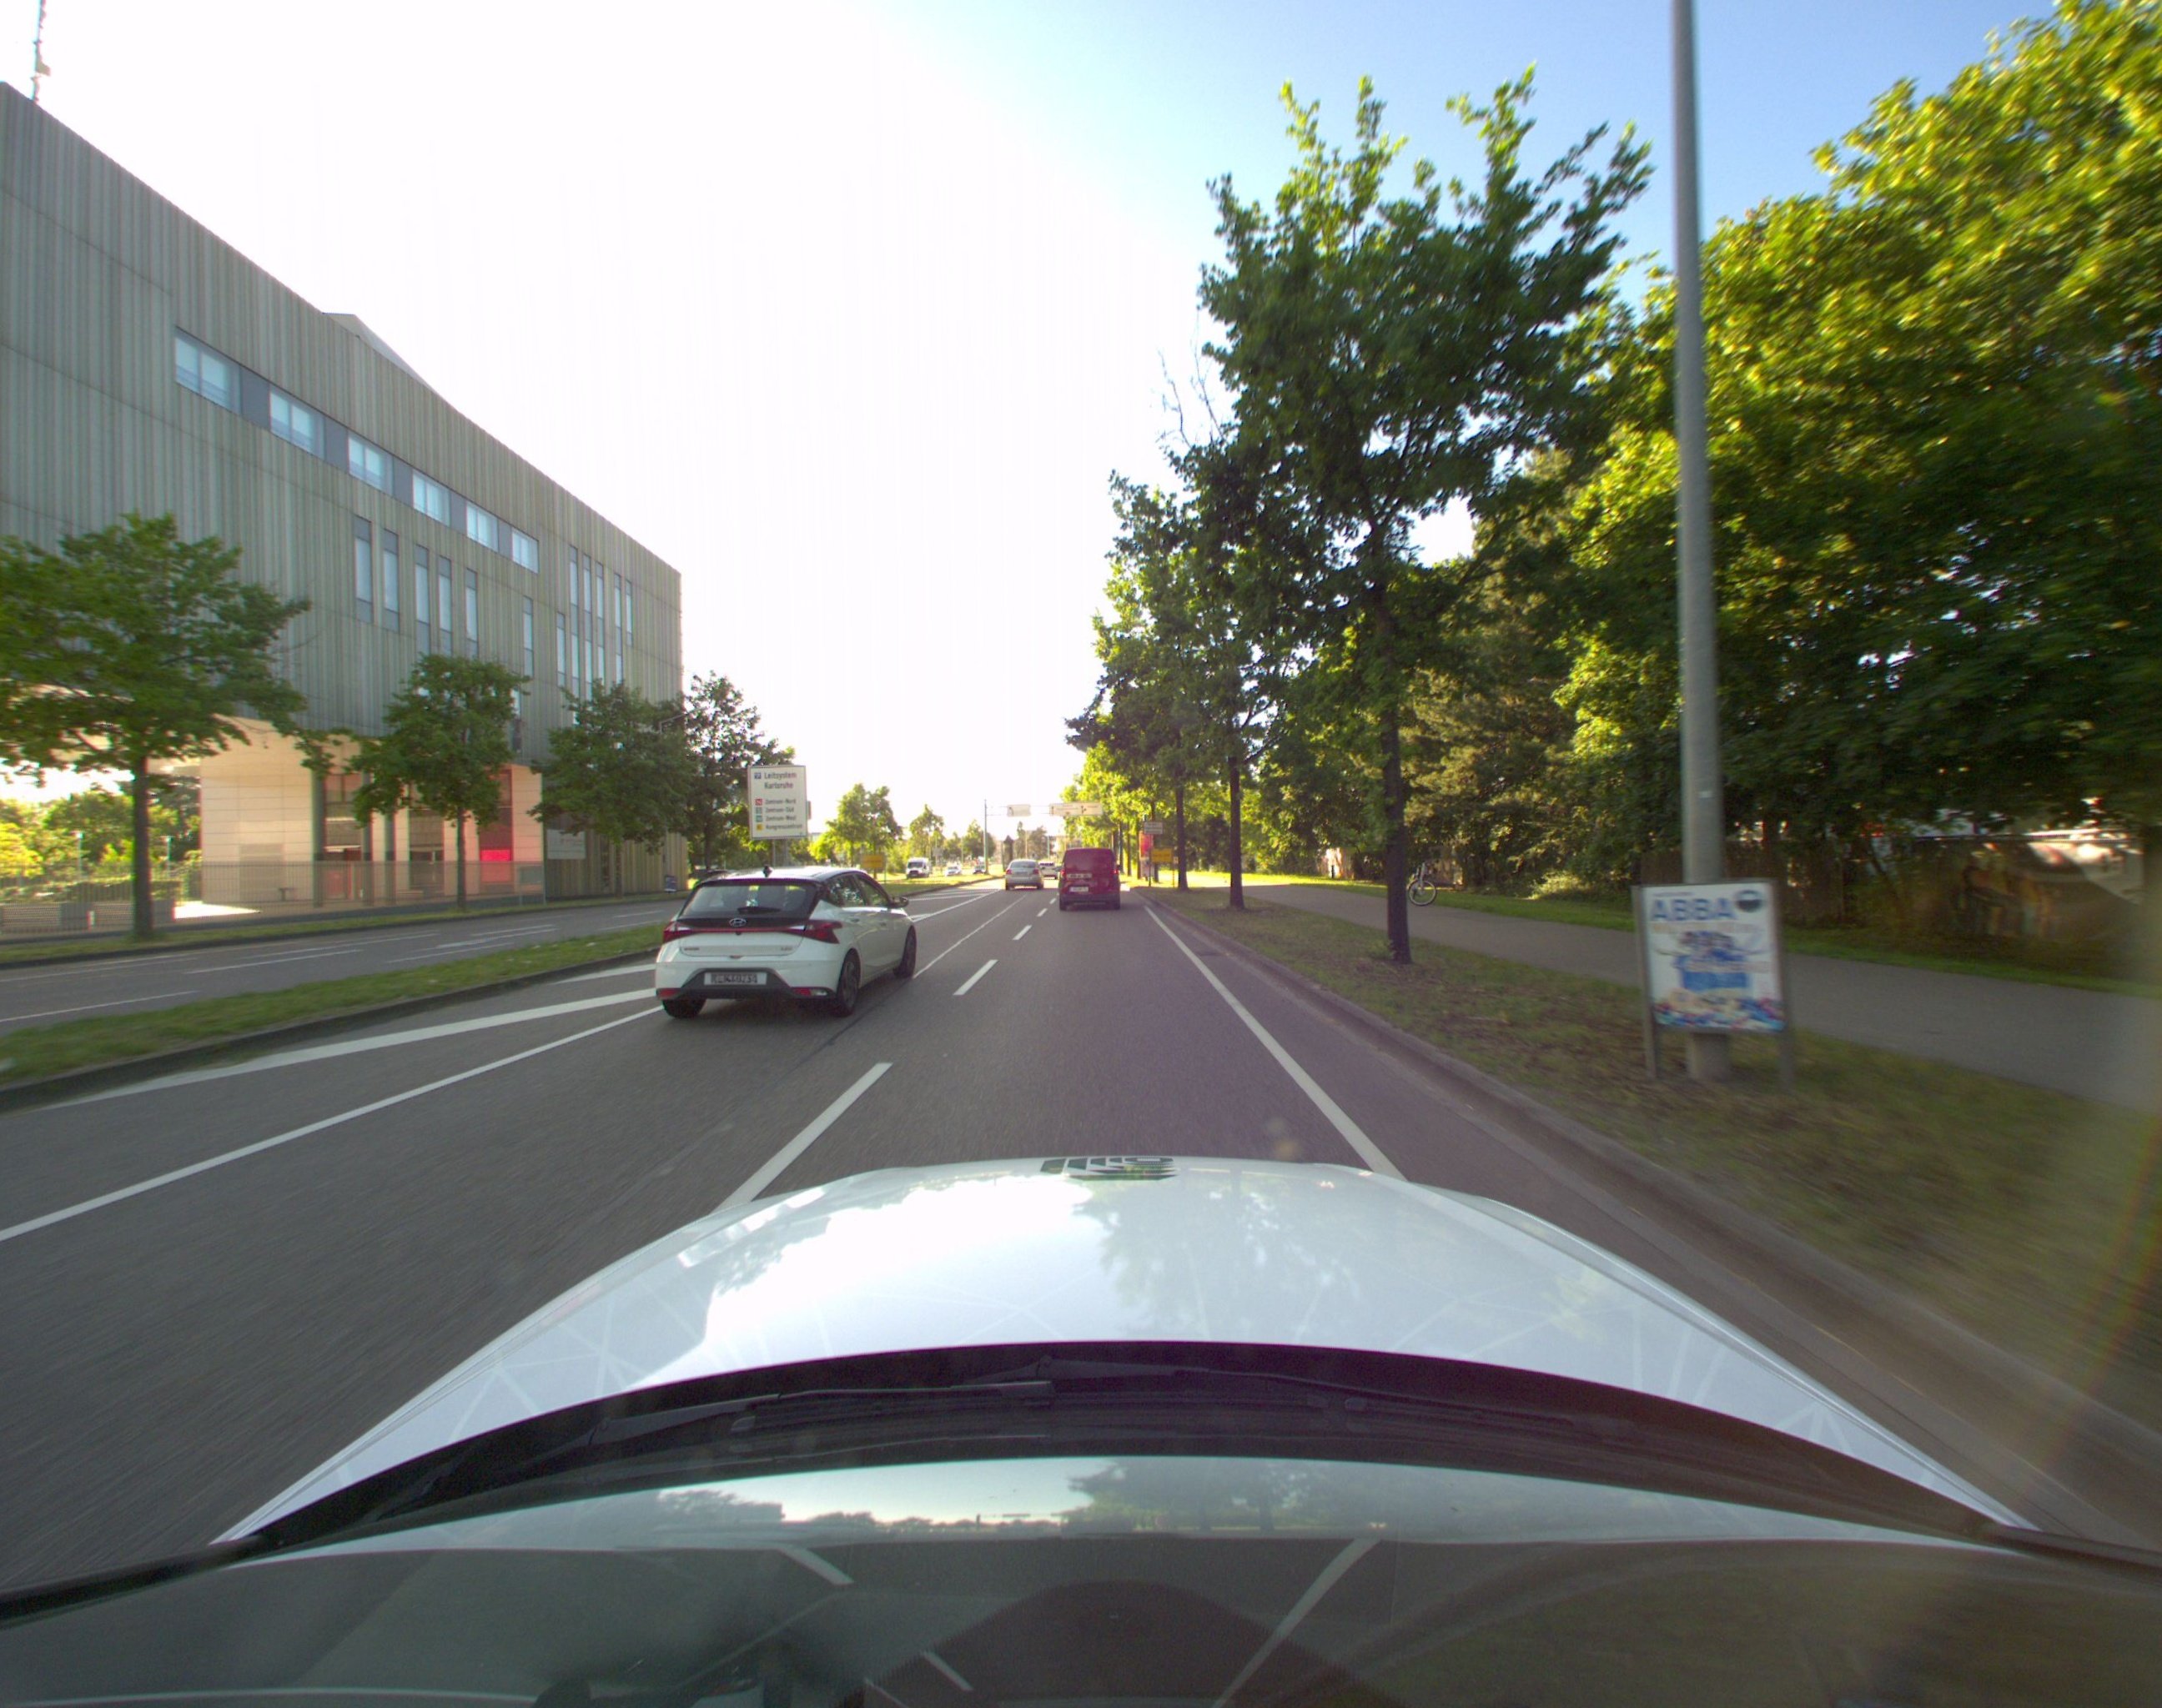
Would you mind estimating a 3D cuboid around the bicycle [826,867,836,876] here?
[{"bbox_3d":[-27.713,1.968,90.359,0.485,1.003,2.095,-2,-1,-1],"label":"bicycle"}]

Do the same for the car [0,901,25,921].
[{"bbox_3d":[-51.834,2.721,37.676,1.425,0.914,3.442,-2,0,0],"label":"car"}]

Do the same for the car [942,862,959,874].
[{"bbox_3d":[-16.775,1.821,104.630,1.684,1.476,4.046,-2,0,-2],"label":"car"}]

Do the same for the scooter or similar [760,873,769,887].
[{"bbox_3d":[-26.327,2.129,67.698,0.230,1.149,1.327,-2,-1,0],"label":"scooter or similar"}]

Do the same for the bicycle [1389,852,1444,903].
[{"bbox_3d":[7.931,0.529,19.340,0.769,1.131,1.712,-2,0,7],"label":"bicycle"}]

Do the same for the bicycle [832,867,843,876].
[{"bbox_3d":[-26.739,1.941,89.451,0.568,1.003,2.095,-2,-1,-1],"label":"bicycle"}]

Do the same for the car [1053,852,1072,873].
[{"bbox_3d":[-1.733,0.753,75.962,1.656,1.856,3.557,-2,0,-1],"label":"car"}]

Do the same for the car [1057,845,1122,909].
[{"bbox_3d":[0.217,0.644,24.593,1.801,1.759,4.004,0,0,-1],"label":"car"}]

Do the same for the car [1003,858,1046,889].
[{"bbox_3d":[-2.760,0.922,40.335,1.835,1.456,4.161,0,0,0],"label":"car"}]

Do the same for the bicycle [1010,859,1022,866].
[{"bbox_3d":[-11.348,1.521,142.375,1.953,1.166,0.517,-2,-1,-2],"label":"bicycle"}]

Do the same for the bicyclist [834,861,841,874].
[{"bbox_3d":[-26.752,1.491,89.433,0.561,1.392,0.747,-2,-1,-2],"label":"bicyclist"}]

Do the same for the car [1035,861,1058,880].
[{"bbox_3d":[-2.687,1.280,64.530,1.656,1.398,3.557,-2,0,-1],"label":"car"}]

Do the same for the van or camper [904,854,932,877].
[{"bbox_3d":[-18.260,1.279,91.495,1.988,2.368,5.990,-3,0,-1],"label":"van or camper"}]

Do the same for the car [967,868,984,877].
[{"bbox_3d":[-14.181,2.455,109.941,1.823,1.111,4.170,-2,0,-2],"label":"car"}]

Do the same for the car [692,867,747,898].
[{"bbox_3d":[-19.003,1.473,42.964,1.442,1.436,3.457,-2,0,-2],"label":"car"}]

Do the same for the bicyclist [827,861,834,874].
[{"bbox_3d":[-27.724,1.535,90.203,0.481,1.395,0.844,-2,-1,-2],"label":"bicyclist"}]

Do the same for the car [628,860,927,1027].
[{"bbox_3d":[-3.046,0.799,9.181,1.772,1.409,4.075,-1,0,1],"label":"car"}]

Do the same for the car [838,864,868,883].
[{"bbox_3d":[-19.379,1.655,69.396,1.546,1.508,4.023,-2,0,-2],"label":"car"}]
